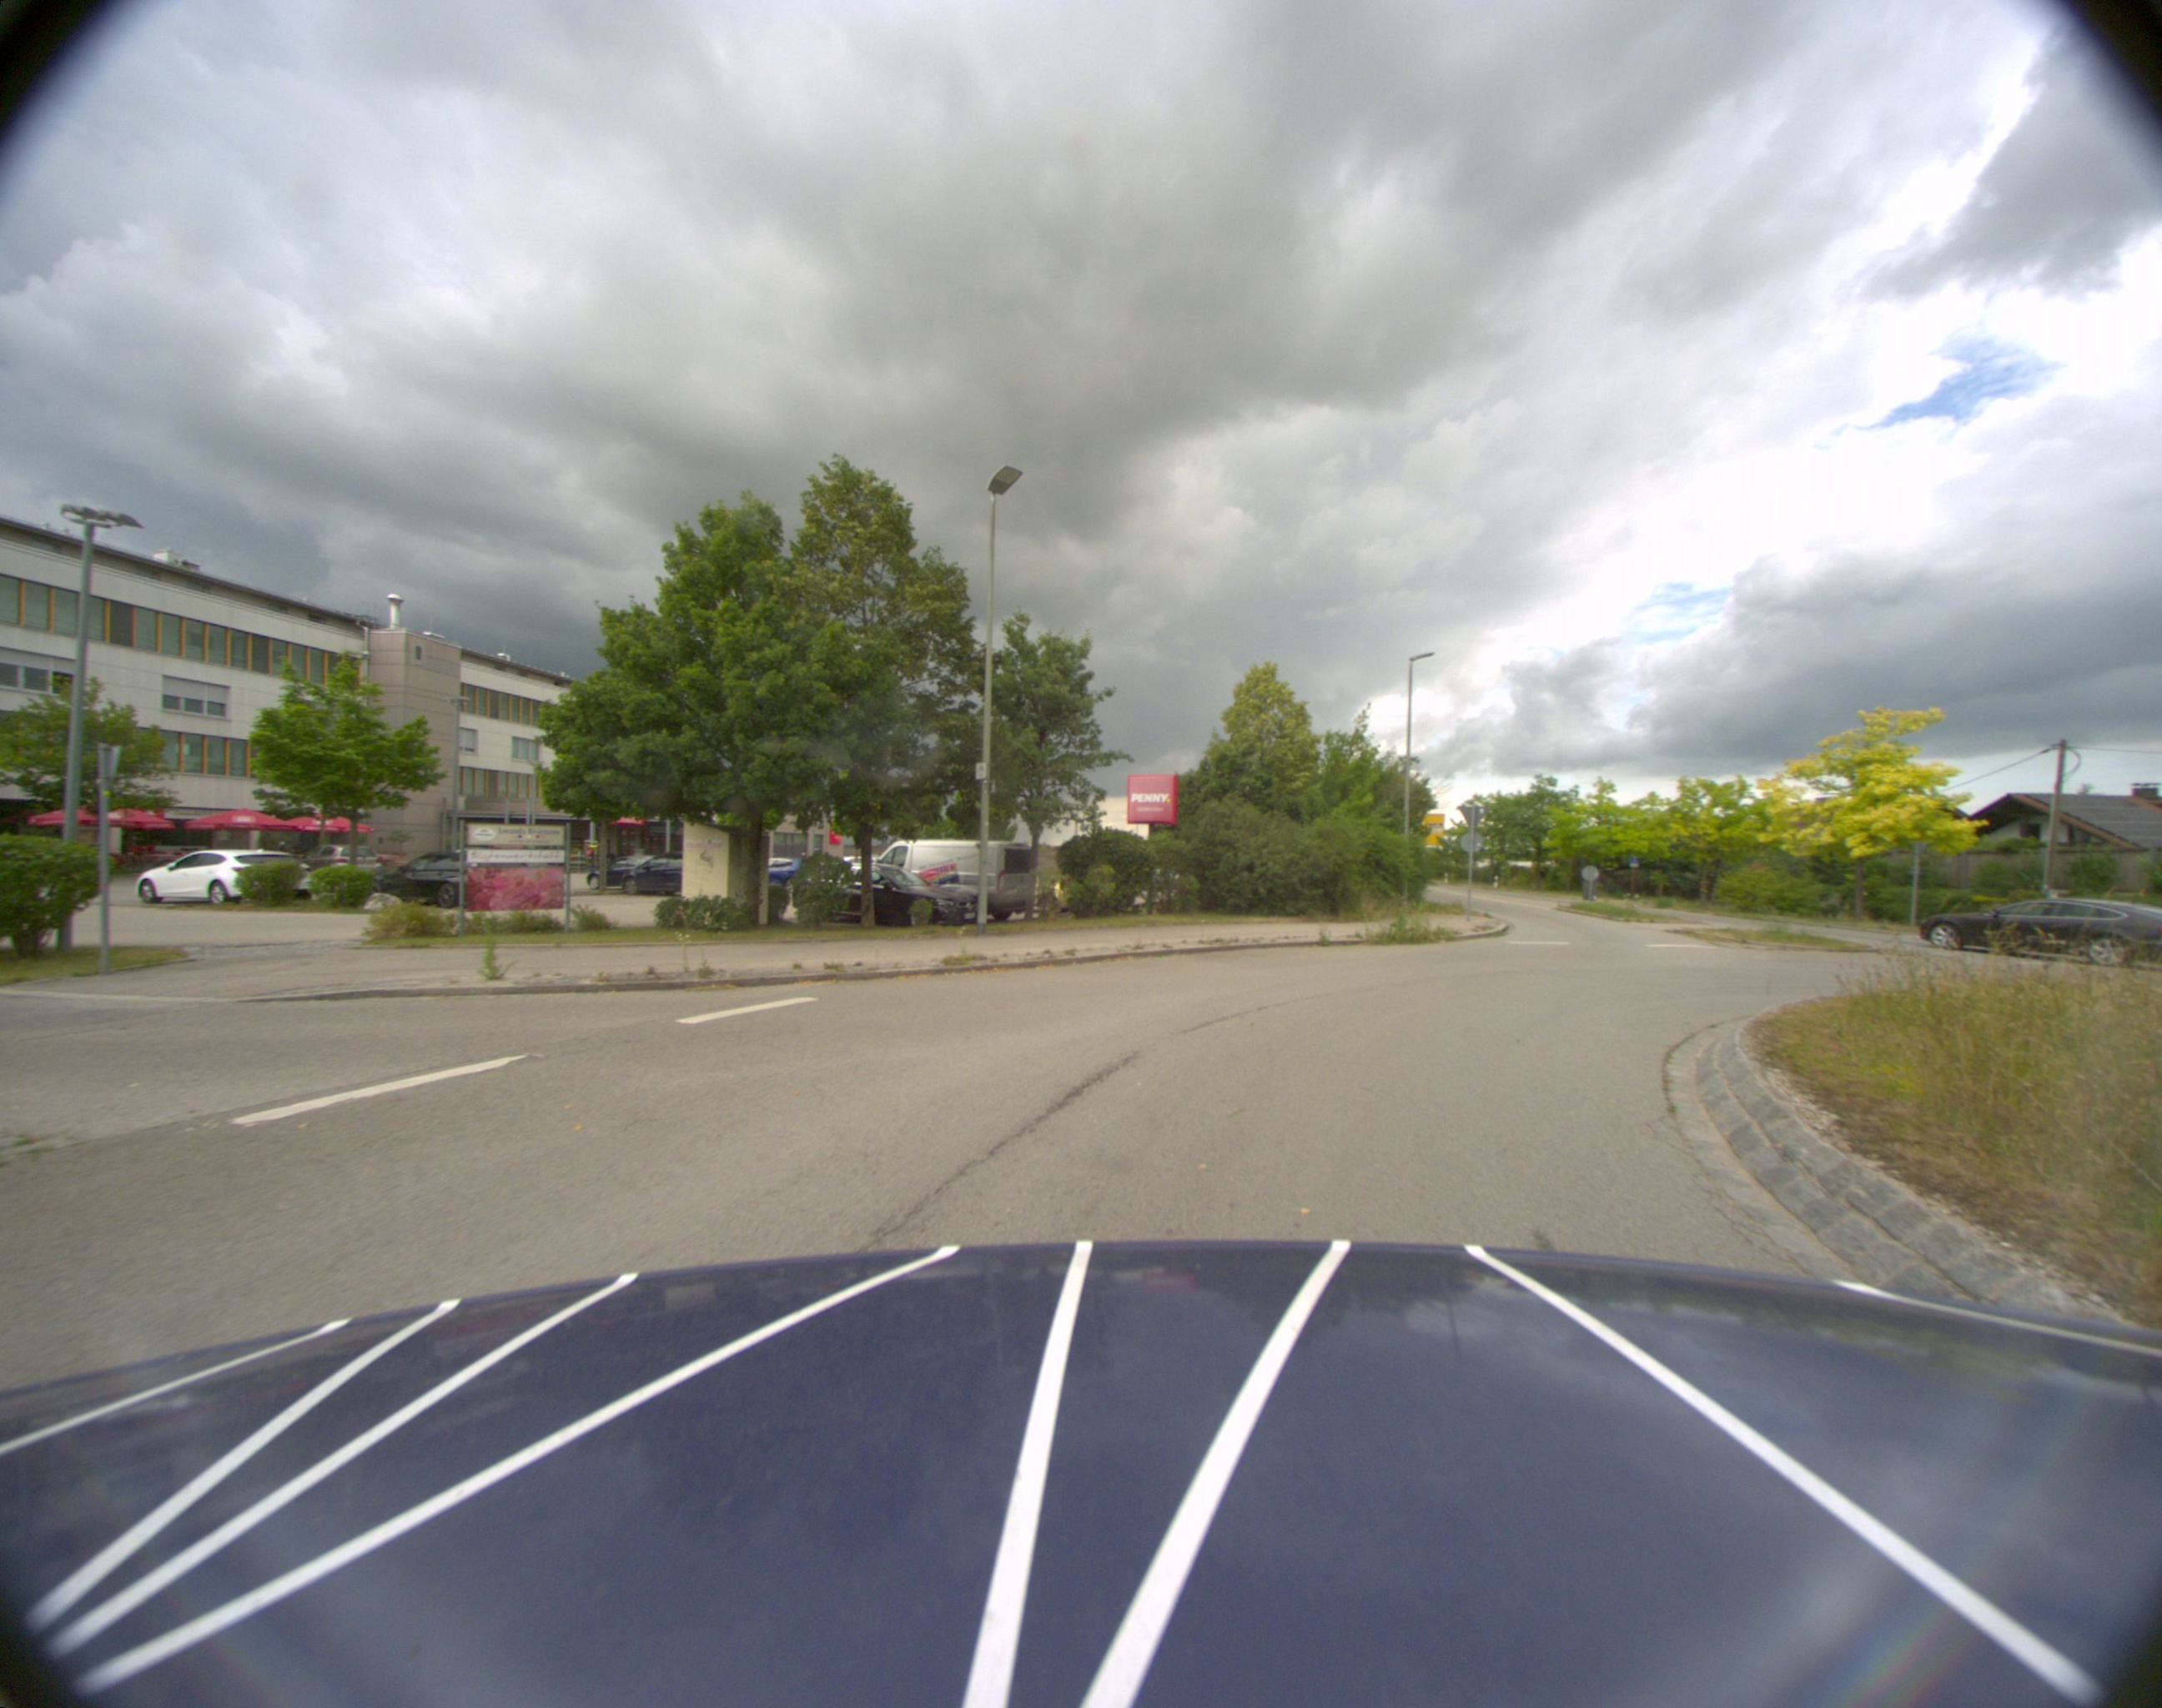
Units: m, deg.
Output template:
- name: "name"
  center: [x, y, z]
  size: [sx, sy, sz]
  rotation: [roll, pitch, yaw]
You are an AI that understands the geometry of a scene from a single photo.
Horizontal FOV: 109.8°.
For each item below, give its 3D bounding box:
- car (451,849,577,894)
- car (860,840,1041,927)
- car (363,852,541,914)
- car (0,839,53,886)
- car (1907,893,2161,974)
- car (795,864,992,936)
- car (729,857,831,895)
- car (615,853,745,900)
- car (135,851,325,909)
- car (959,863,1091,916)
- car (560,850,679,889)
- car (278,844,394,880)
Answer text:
- name: "car"
  center: [-20.116, 0.644, 26.965]
  size: [4.077, 1.501, 1.878]
  rotation: [-2, -1, 26]
- name: "car"
  center: [-3.586, 0.750, 21.068]
  size: [4.406, 2.146, 2.160]
  rotation: [2, 0, 21]
- name: "car"
  center: [-16.578, 0.708, 20.050]
  size: [3.991, 1.448, 1.824]
  rotation: [1, 0, 19]
- name: "car"
  center: [-35.934, 0.248, 24.621]
  size: [3.991, 1.448, 1.824]
  rotation: [1, 0, 16]
- name: "car"
  center: [21.879, 1.692, 16.920]
  size: [1.935, 1.339, 4.469]
  rotation: [2, 0, -4]
- name: "car"
  center: [-4.583, 1.042, 18.564]
  size: [4.406, 1.484, 1.766]
  rotation: [2, 0, 21]
- name: "car"
  center: [-12.530, 0.882, 31.637]
  size: [3.784, 1.495, 1.662]
  rotation: [1, 0, 19]
- name: "car"
  center: [-14.186, 0.744, 26.897]
  size: [3.991, 1.533, 1.824]
  rotation: [1, 0, 19]
- name: "car"
  center: [-22.778, 0.670, 20.379]
  size: [3.992, 1.448, 1.824]
  rotation: [0, 0, 16]
- name: "car"
  center: [-1.845, 1.126, 25.197]
  size: [3.929, 1.547, 1.766]
  rotation: [1, 0, 21]
- name: "car"
  center: [-19.541, 0.665, 32.271]
  size: [4.082, 1.530, 1.781]
  rotation: [-1, -1, 7]
- name: "car"
  center: [-32.074, 0.320, 32.742]
  size: [3.991, 1.448, 1.824]
  rotation: [1, 0, 16]
